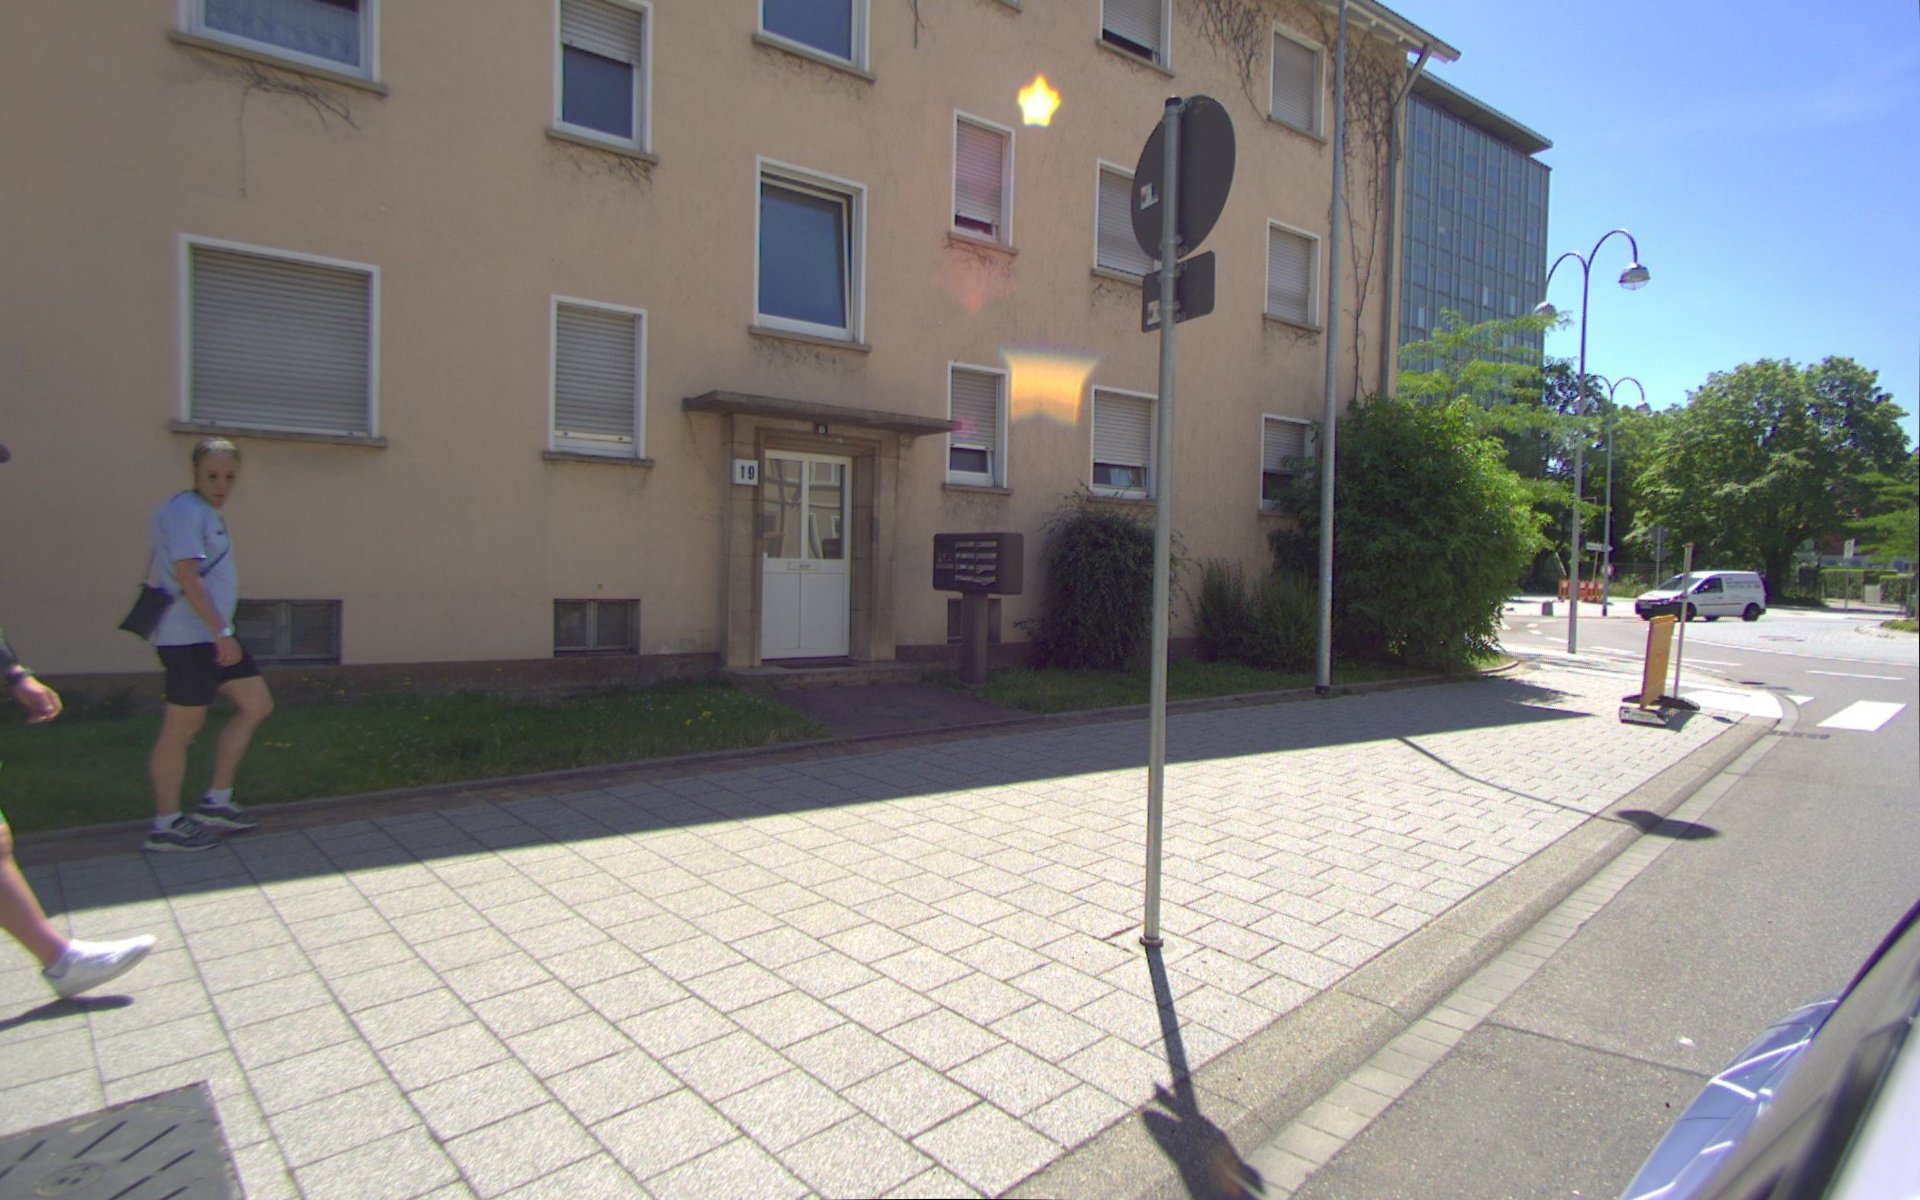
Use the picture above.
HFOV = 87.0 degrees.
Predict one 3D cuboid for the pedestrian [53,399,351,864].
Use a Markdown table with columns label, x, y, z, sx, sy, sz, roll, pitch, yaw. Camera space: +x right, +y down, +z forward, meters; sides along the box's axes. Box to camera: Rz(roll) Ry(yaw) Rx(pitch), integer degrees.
| label | x | y | z | sx | sy | sz | roll | pitch | yaw |
| --- | --- | --- | --- | --- | --- | --- | --- | --- | --- |
| pedestrian | -3.370 | 0.109 | 4.539 | 0.990 | 1.800 | 0.795 | 0 | 1 | -39 |

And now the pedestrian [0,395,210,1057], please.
| label | x | y | z | sx | sy | sz | roll | pitch | yaw |
| --- | --- | --- | --- | --- | --- | --- | --- | --- | --- |
| pedestrian | -3.006 | 0.302 | 3.017 | 1.170 | 1.753 | 1.174 | -1 | 5 | -40 |
